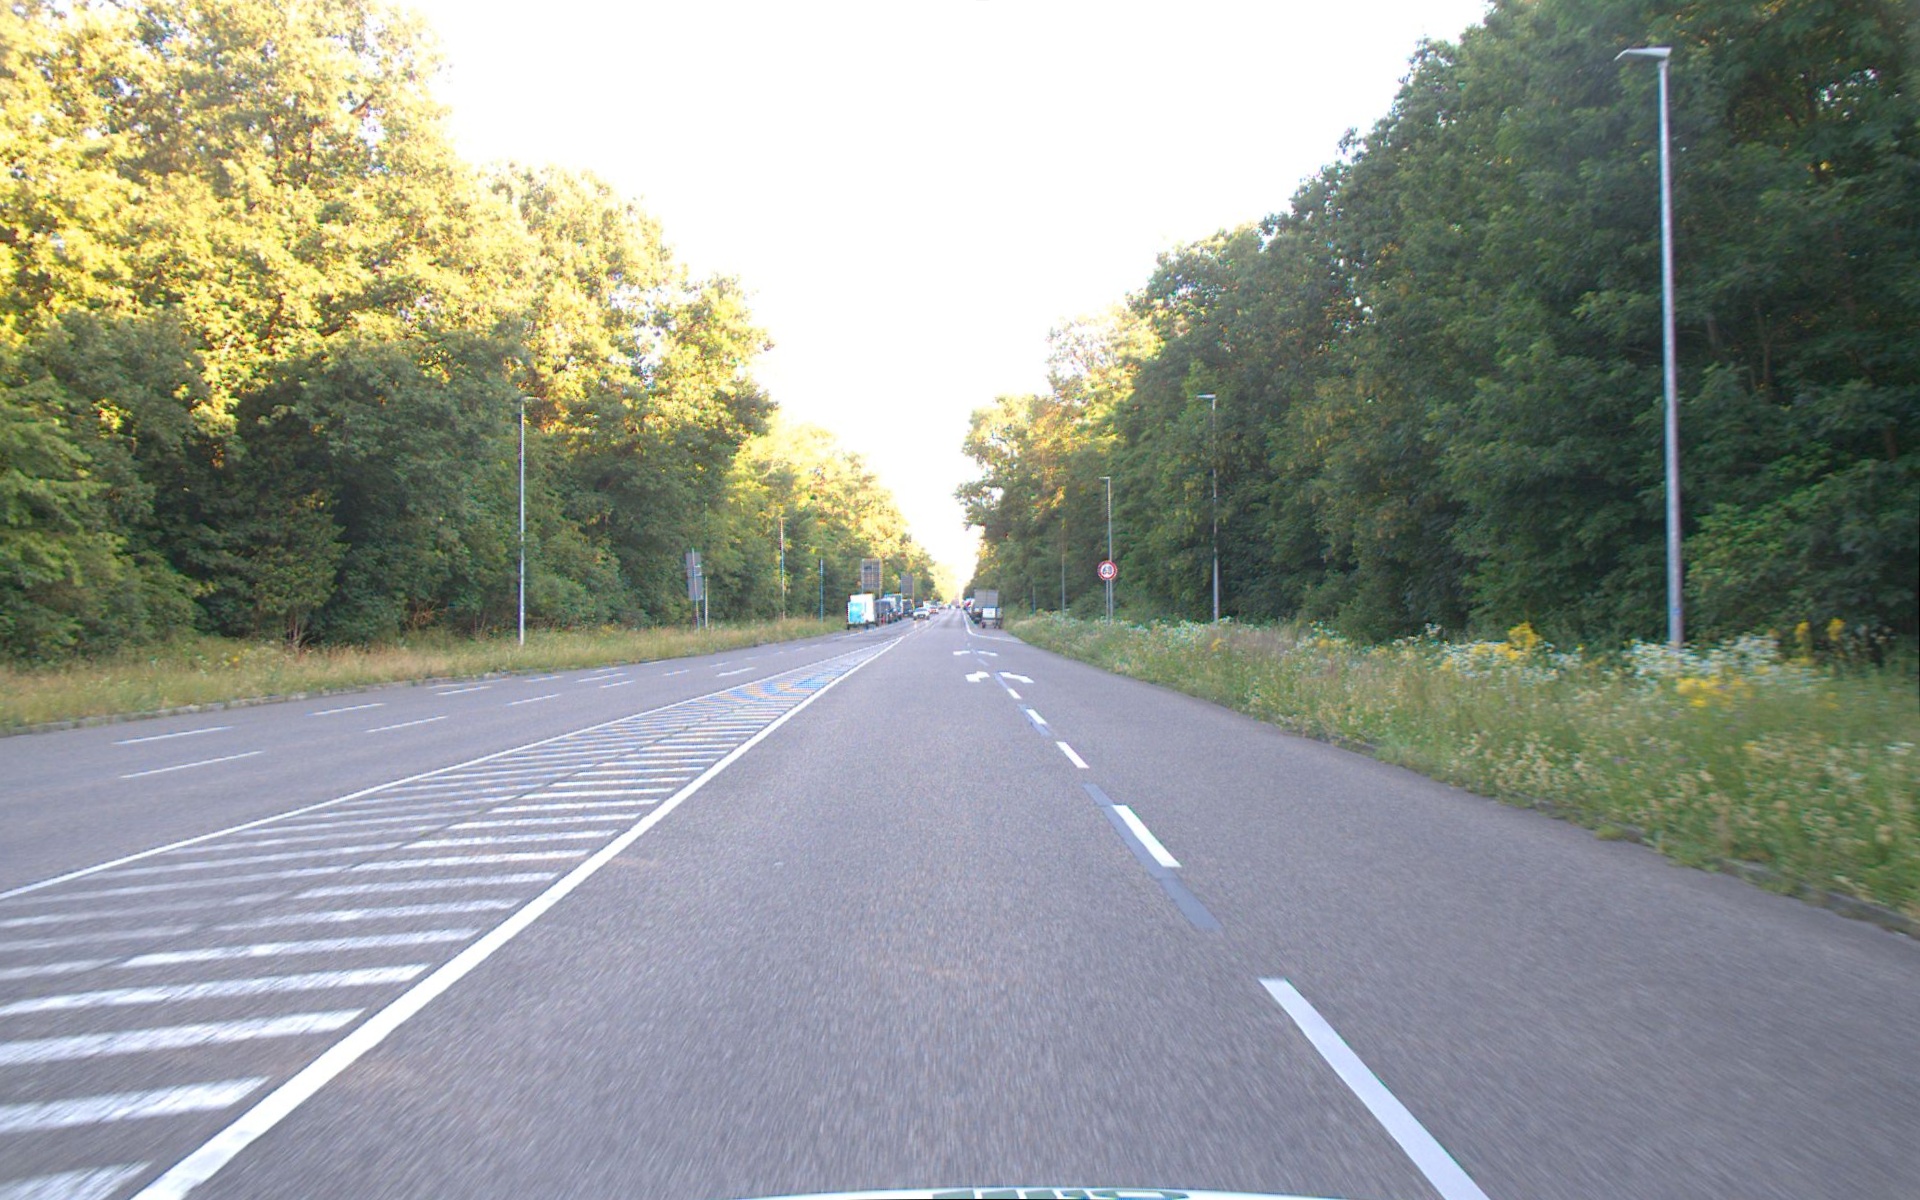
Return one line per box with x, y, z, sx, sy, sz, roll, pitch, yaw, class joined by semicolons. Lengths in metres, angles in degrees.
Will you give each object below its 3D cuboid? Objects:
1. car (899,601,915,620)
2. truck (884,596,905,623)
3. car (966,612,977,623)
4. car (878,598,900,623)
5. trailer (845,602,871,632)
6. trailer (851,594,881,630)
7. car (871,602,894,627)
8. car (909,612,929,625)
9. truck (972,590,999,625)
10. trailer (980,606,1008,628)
-7.931;1.579;248.334;2.142;2.837;5.333;-2;0;0;car
-8.425;1.214;213.690;2.453;3.387;6.841;-2;0;0;truck
1.616;2.415;234.893;1.126;1.271;2.753;-12;2;-2;car
-8.059;1.179;188.117;2.203;2.694;5.720;-2;0;0;car
-7.996;1.319;129.646;1.780;2.205;4.142;-2;0;-1;trailer
-8.232;1.064;145.258;2.279;2.975;5.626;-3;0;-1;trailer
-7.946;1.448;170.535;1.953;2.405;5.765;-3;0;0;car
-4.975;2.236;200.717;2.021;1.460;4.466;-3;0;2;car
2.511;0.757;161.891;2.535;3.312;7.221;0;-1;1;truck
2.651;1.303;129.608;1.425;1.691;3.780;-1;0;13;trailer
